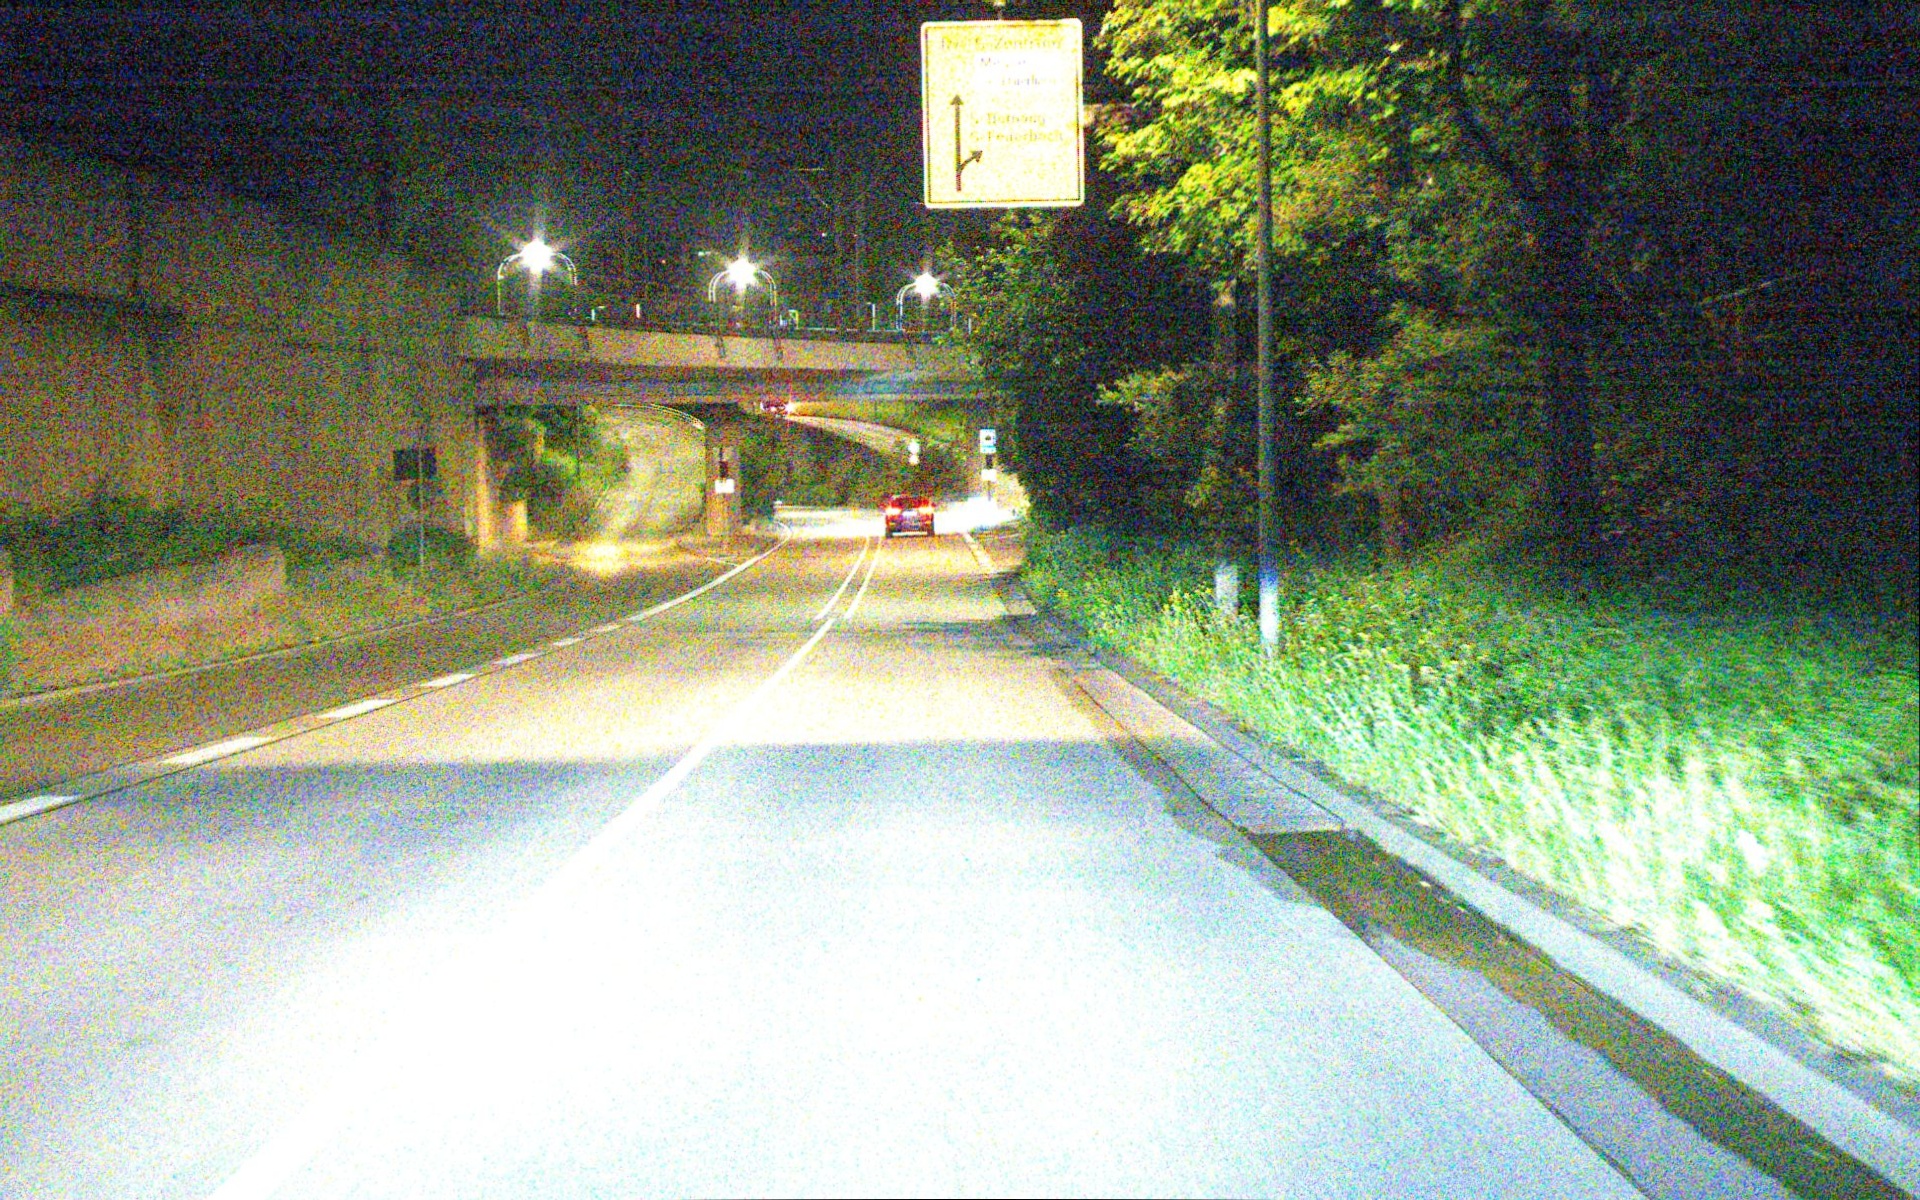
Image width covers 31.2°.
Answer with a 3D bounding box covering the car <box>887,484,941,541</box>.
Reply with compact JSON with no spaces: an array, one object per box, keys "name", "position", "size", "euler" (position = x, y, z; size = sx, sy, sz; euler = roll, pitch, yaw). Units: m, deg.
[{"name":"car","position":[-1.717,-3.248,128.044],"size":[1.918,2.007,4.123],"euler":[1,1,-1]}]
